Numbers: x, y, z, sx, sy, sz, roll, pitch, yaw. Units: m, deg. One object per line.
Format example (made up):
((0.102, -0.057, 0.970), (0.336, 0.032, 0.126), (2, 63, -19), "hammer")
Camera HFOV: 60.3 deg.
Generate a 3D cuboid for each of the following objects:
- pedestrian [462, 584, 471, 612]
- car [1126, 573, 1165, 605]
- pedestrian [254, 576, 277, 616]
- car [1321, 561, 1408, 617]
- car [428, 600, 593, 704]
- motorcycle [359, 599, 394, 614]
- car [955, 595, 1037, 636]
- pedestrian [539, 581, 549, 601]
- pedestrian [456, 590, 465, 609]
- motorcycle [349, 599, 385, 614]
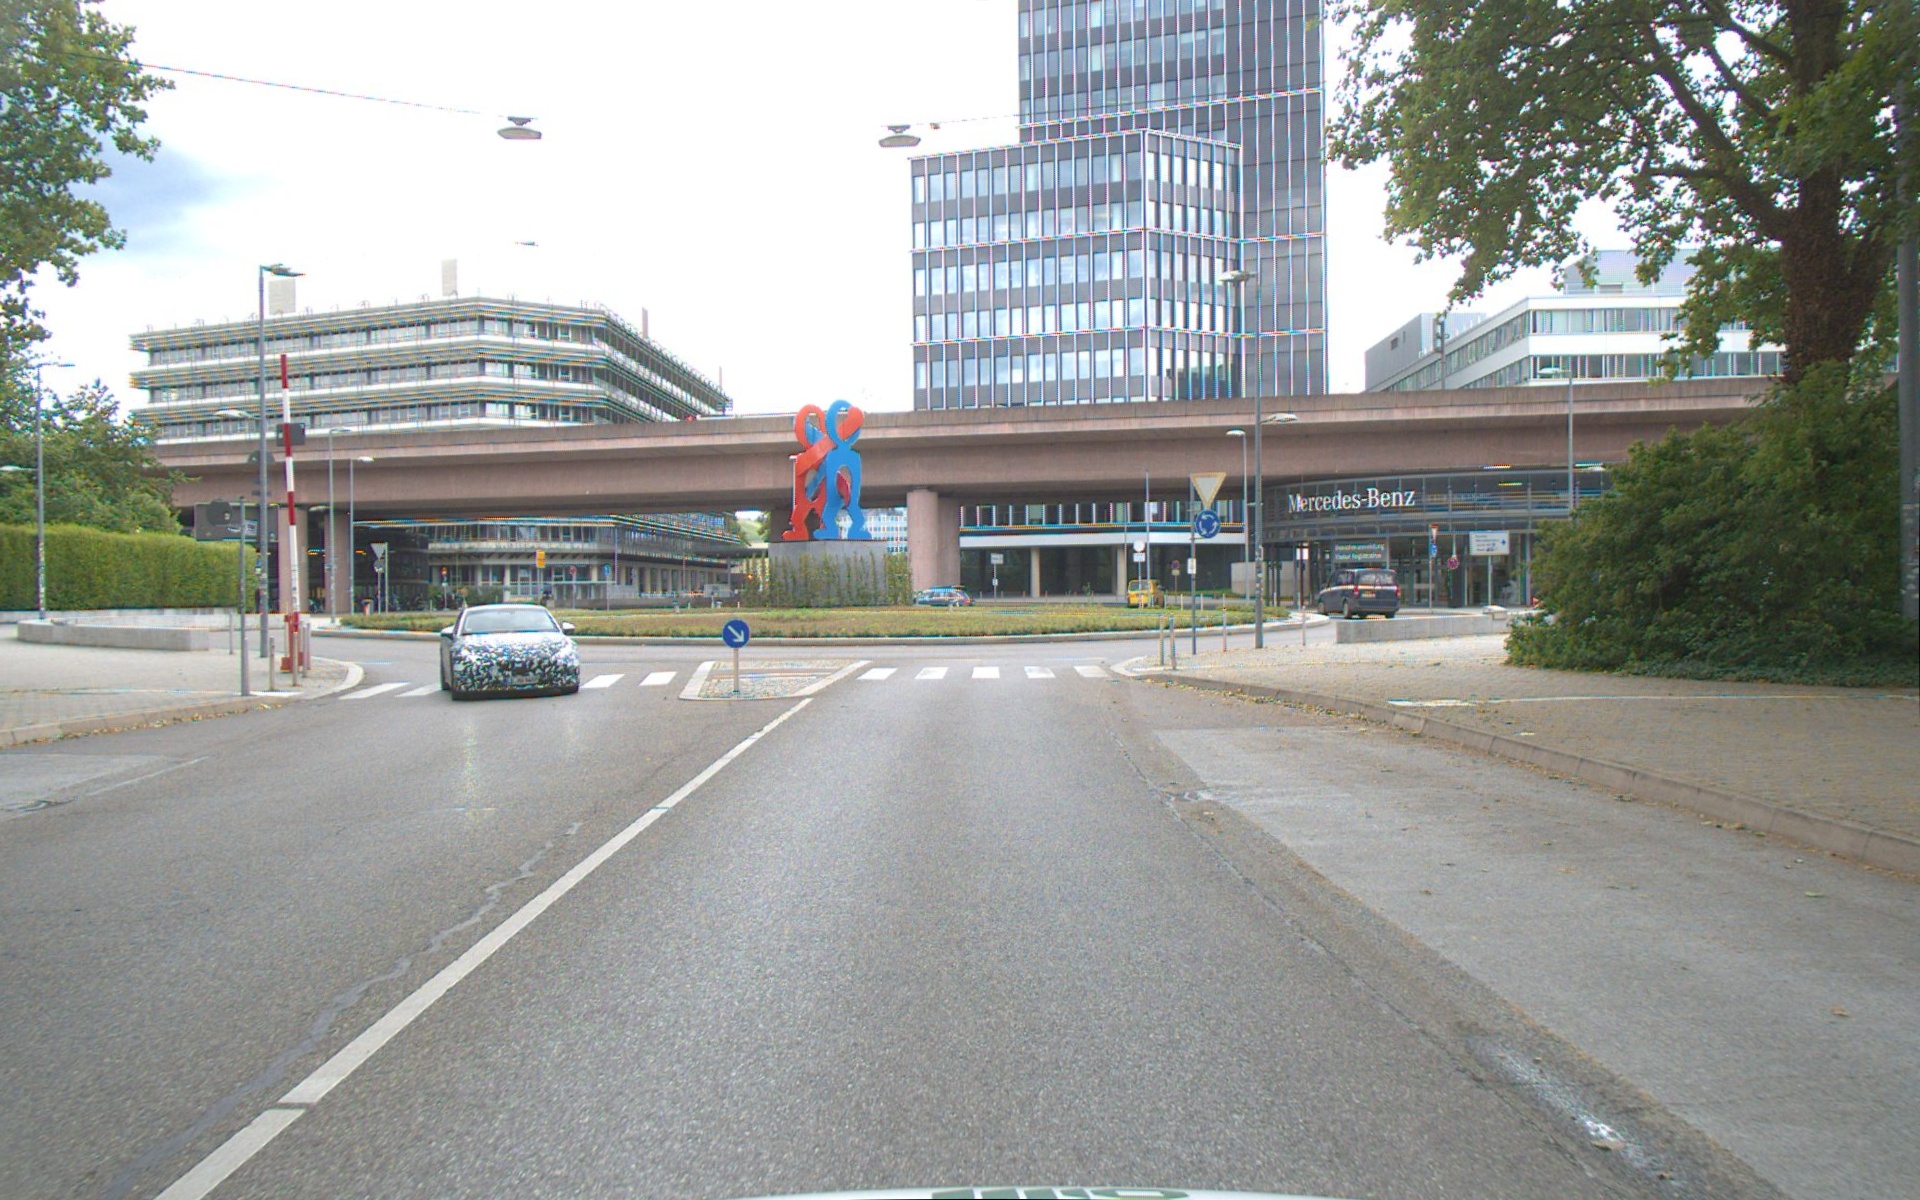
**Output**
((-36.257, -0.126, 121.557), (0.578, 2.049, 0.597), (0, 0, -14), "pedestrian")
((11.986, -0.693, 106.926), (1.951, 2.049, 4.003), (0, 0, 15), "car")
((-36.099, -0.210, 85.958), (1.025, 2.049, 0.597), (0, 0, -14), "pedestrian")
((15.416, -0.393, 63.267), (2.229, 2.049, 4.784), (0, 0, 1), "car")
((-7.479, 0.780, 27.192), (1.876, 1.478, 4.778), (-2, 1, -24), "car")
((-46.611, 0.519, 132.115), (2.597, 1.132, 1.040), (0, 0, 19), "motorcycle")
((1.742, 0.727, 80.203), (3.642, 1.959, 1.923), (0, 0, 15), "car")
((-42.701, -0.968, 169.757), (0.760, 2.049, 0.670), (0, 0, -2), "pedestrian")
((-51.438, -0.051, 170.257), (0.766, 2.049, 0.665), (0, 0, -26), "pedestrian")
((-46.893, 0.518, 130.847), (2.597, 1.132, 1.040), (0, 0, 19), "motorcycle")
